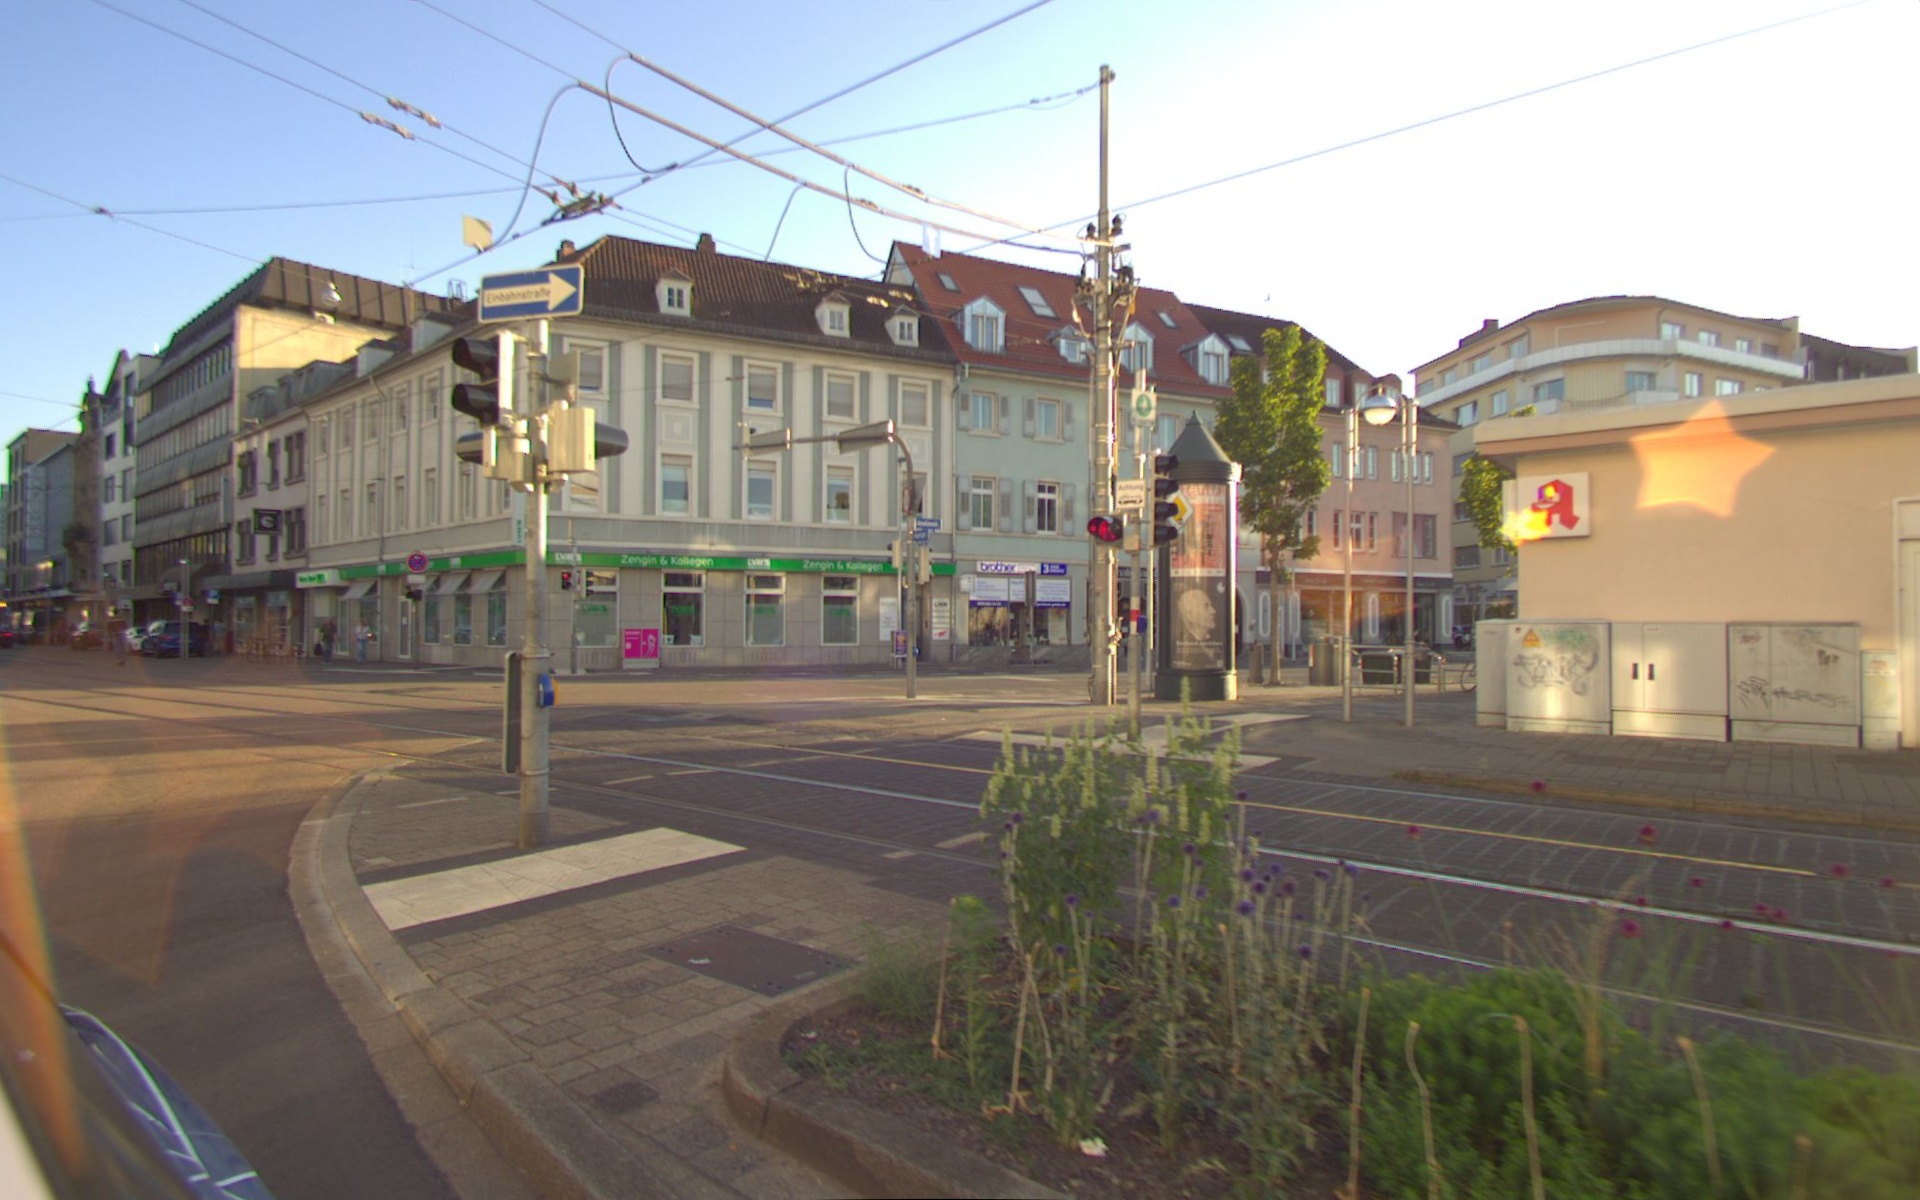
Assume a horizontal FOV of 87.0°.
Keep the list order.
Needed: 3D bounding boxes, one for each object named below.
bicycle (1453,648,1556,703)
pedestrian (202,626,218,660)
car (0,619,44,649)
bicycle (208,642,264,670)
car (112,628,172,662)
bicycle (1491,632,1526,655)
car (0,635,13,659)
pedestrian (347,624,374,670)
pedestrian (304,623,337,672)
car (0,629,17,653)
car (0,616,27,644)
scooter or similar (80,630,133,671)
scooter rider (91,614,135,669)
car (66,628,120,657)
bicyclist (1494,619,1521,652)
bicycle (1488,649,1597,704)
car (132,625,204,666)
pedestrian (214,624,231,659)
[{"bbox_3d":[11.112,1.526,20.726,0.550,1.052,2.033,2,-3,-18],"label":"bicycle"},{"bbox_3d":[-38.257,2.172,51.628,0.583,1.697,0.503,0,-1,40],"label":"pedestrian"},{"bbox_3d":[-68.203,2.467,73.547,3.998,2.029,1.973,1,-1,41],"label":"car"},{"bbox_3d":[-28.014,2.155,39.186,1.715,1.067,0.499,2,-4,-41],"label":"bicycle"},{"bbox_3d":[-41.802,2.286,51.694,3.997,1.636,1.679,-2,-2,40],"label":"car"},{"bbox_3d":[30.652,2.441,56.601,0.492,1.213,2.129,2,-1,-11],"label":"bicycle"},{"bbox_3d":[-62.139,3.018,64.650,4.541,1.491,1.870,-3,-5,41],"label":"car"},{"bbox_3d":[-21.970,1.729,37.092,0.814,1.653,0.816,0,-2,-33],"label":"pedestrian"},{"bbox_3d":[-23.558,1.741,37.284,0.813,1.741,0.817,-2,-1,40],"label":"pedestrian"},{"bbox_3d":[-85.686,3.648,90.239,3.997,1.932,1.810,1,-1,40],"label":"car"},{"bbox_3d":[-73.387,2.300,77.839,3.999,2.074,1.972,1,-1,42],"label":"car"},{"bbox_3d":[-28.630,1.686,33.976,0.537,1.361,1.672,0,-2,-9],"label":"scooter or similar"},{"bbox_3d":[-28.683,1.405,34.282,0.801,1.821,0.790,1,-1,-9],"label":"scooter rider"},{"bbox_3d":[-50.815,2.463,59.302,3.998,1.569,1.796,1,-1,41],"label":"car"},{"bbox_3d":[30.636,1.987,56.627,0.752,1.804,1.135,2,-1,-11],"label":"bicyclist"},{"bbox_3d":[12.147,1.574,21.193,0.550,1.051,2.160,2,-2,-18],"label":"bicycle"},{"bbox_3d":[-37.422,2.107,47.768,4.126,1.809,1.890,-1,-1,40],"label":"car"},{"bbox_3d":[-37.935,2.137,52.061,0.600,1.747,0.509,0,-1,41],"label":"pedestrian"}]
